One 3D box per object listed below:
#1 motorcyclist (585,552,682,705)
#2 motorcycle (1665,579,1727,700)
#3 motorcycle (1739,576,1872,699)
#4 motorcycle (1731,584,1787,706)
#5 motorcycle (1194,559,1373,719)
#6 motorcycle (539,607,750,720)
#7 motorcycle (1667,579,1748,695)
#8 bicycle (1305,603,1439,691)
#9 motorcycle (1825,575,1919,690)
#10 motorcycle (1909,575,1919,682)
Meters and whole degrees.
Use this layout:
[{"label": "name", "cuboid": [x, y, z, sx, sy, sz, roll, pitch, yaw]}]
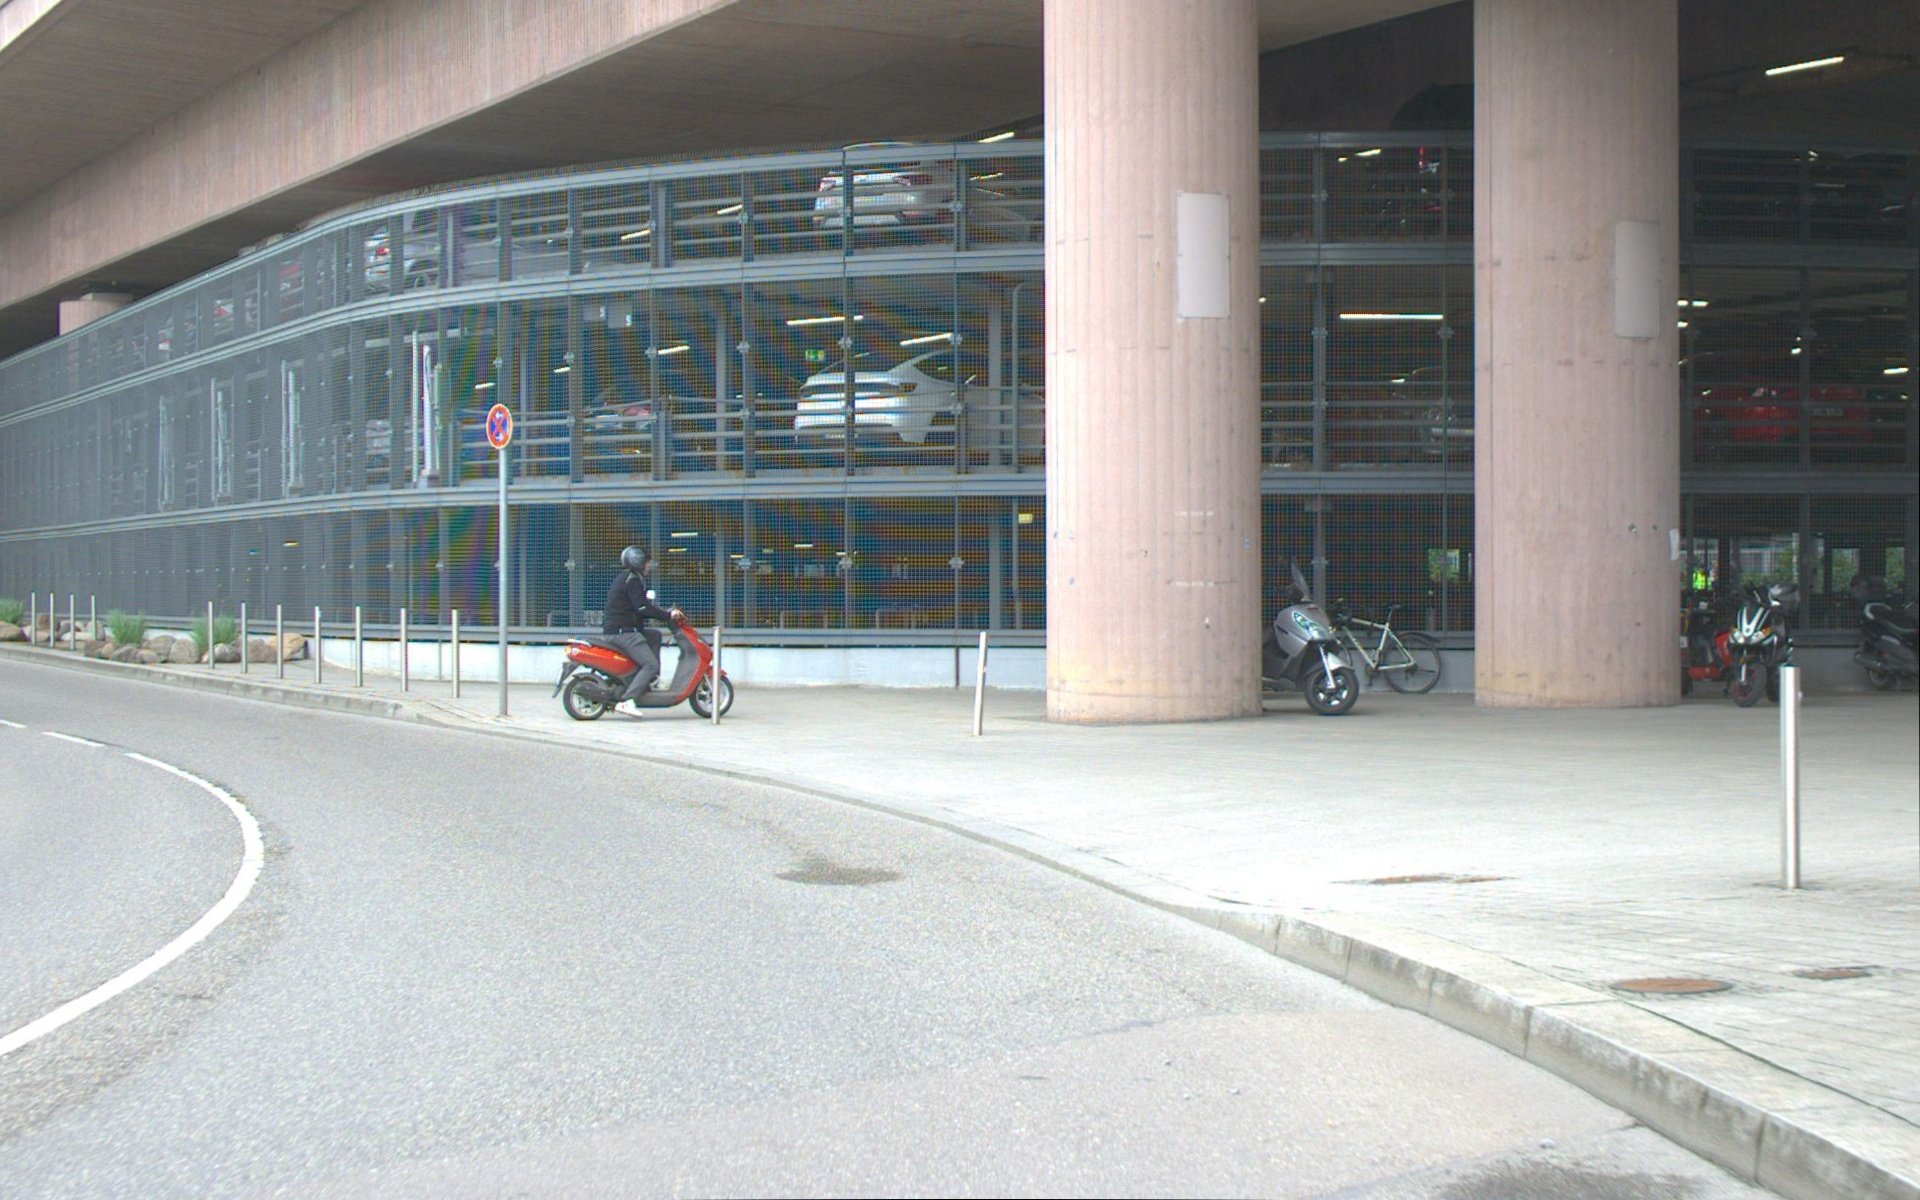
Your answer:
[{"label": "motorcyclist", "cuboid": [-3.107, 0.260, 32.684, 0.867, 1.414, 0.764, 0, 2, -9]}, {"label": "motorcycle", "cuboid": [7.688, 0.401, 35.915, 0.520, 1.216, 1.150, 0, 2, 7]}, {"label": "motorcycle", "cuboid": [8.916, 0.378, 36.342, 0.829, 1.216, 2.079, 0, 2, -2]}, {"label": "motorcycle", "cuboid": [7.790, 0.441, 33.535, 0.520, 1.167, 1.149, 0, -1, 13]}, {"label": "motorcycle", "cuboid": [3.062, 0.348, 32.677, 0.642, 1.450, 1.762, -1, 2, -39]}, {"label": "motorcycle", "cuboid": [-3.010, 0.597, 32.698, 1.949, 1.019, 0.749, 0, 2, -9]}, {"label": "motorcycle", "cuboid": [8.092, 0.390, 37.264, 0.520, 1.216, 1.150, 0, 2, -6]}, {"label": "bicycle", "cuboid": [4.641, 0.526, 38.759, 1.472, 0.973, 0.452, 0, 2, 2]}, {"label": "motorcycle", "cuboid": [10.555, 0.358, 38.254, 0.672, 1.216, 2.079, -1, 2, -23]}, {"label": "motorcycle", "cuboid": [11.570, 0.351, 38.474, 0.672, 1.216, 2.079, -1, 2, -23]}]
